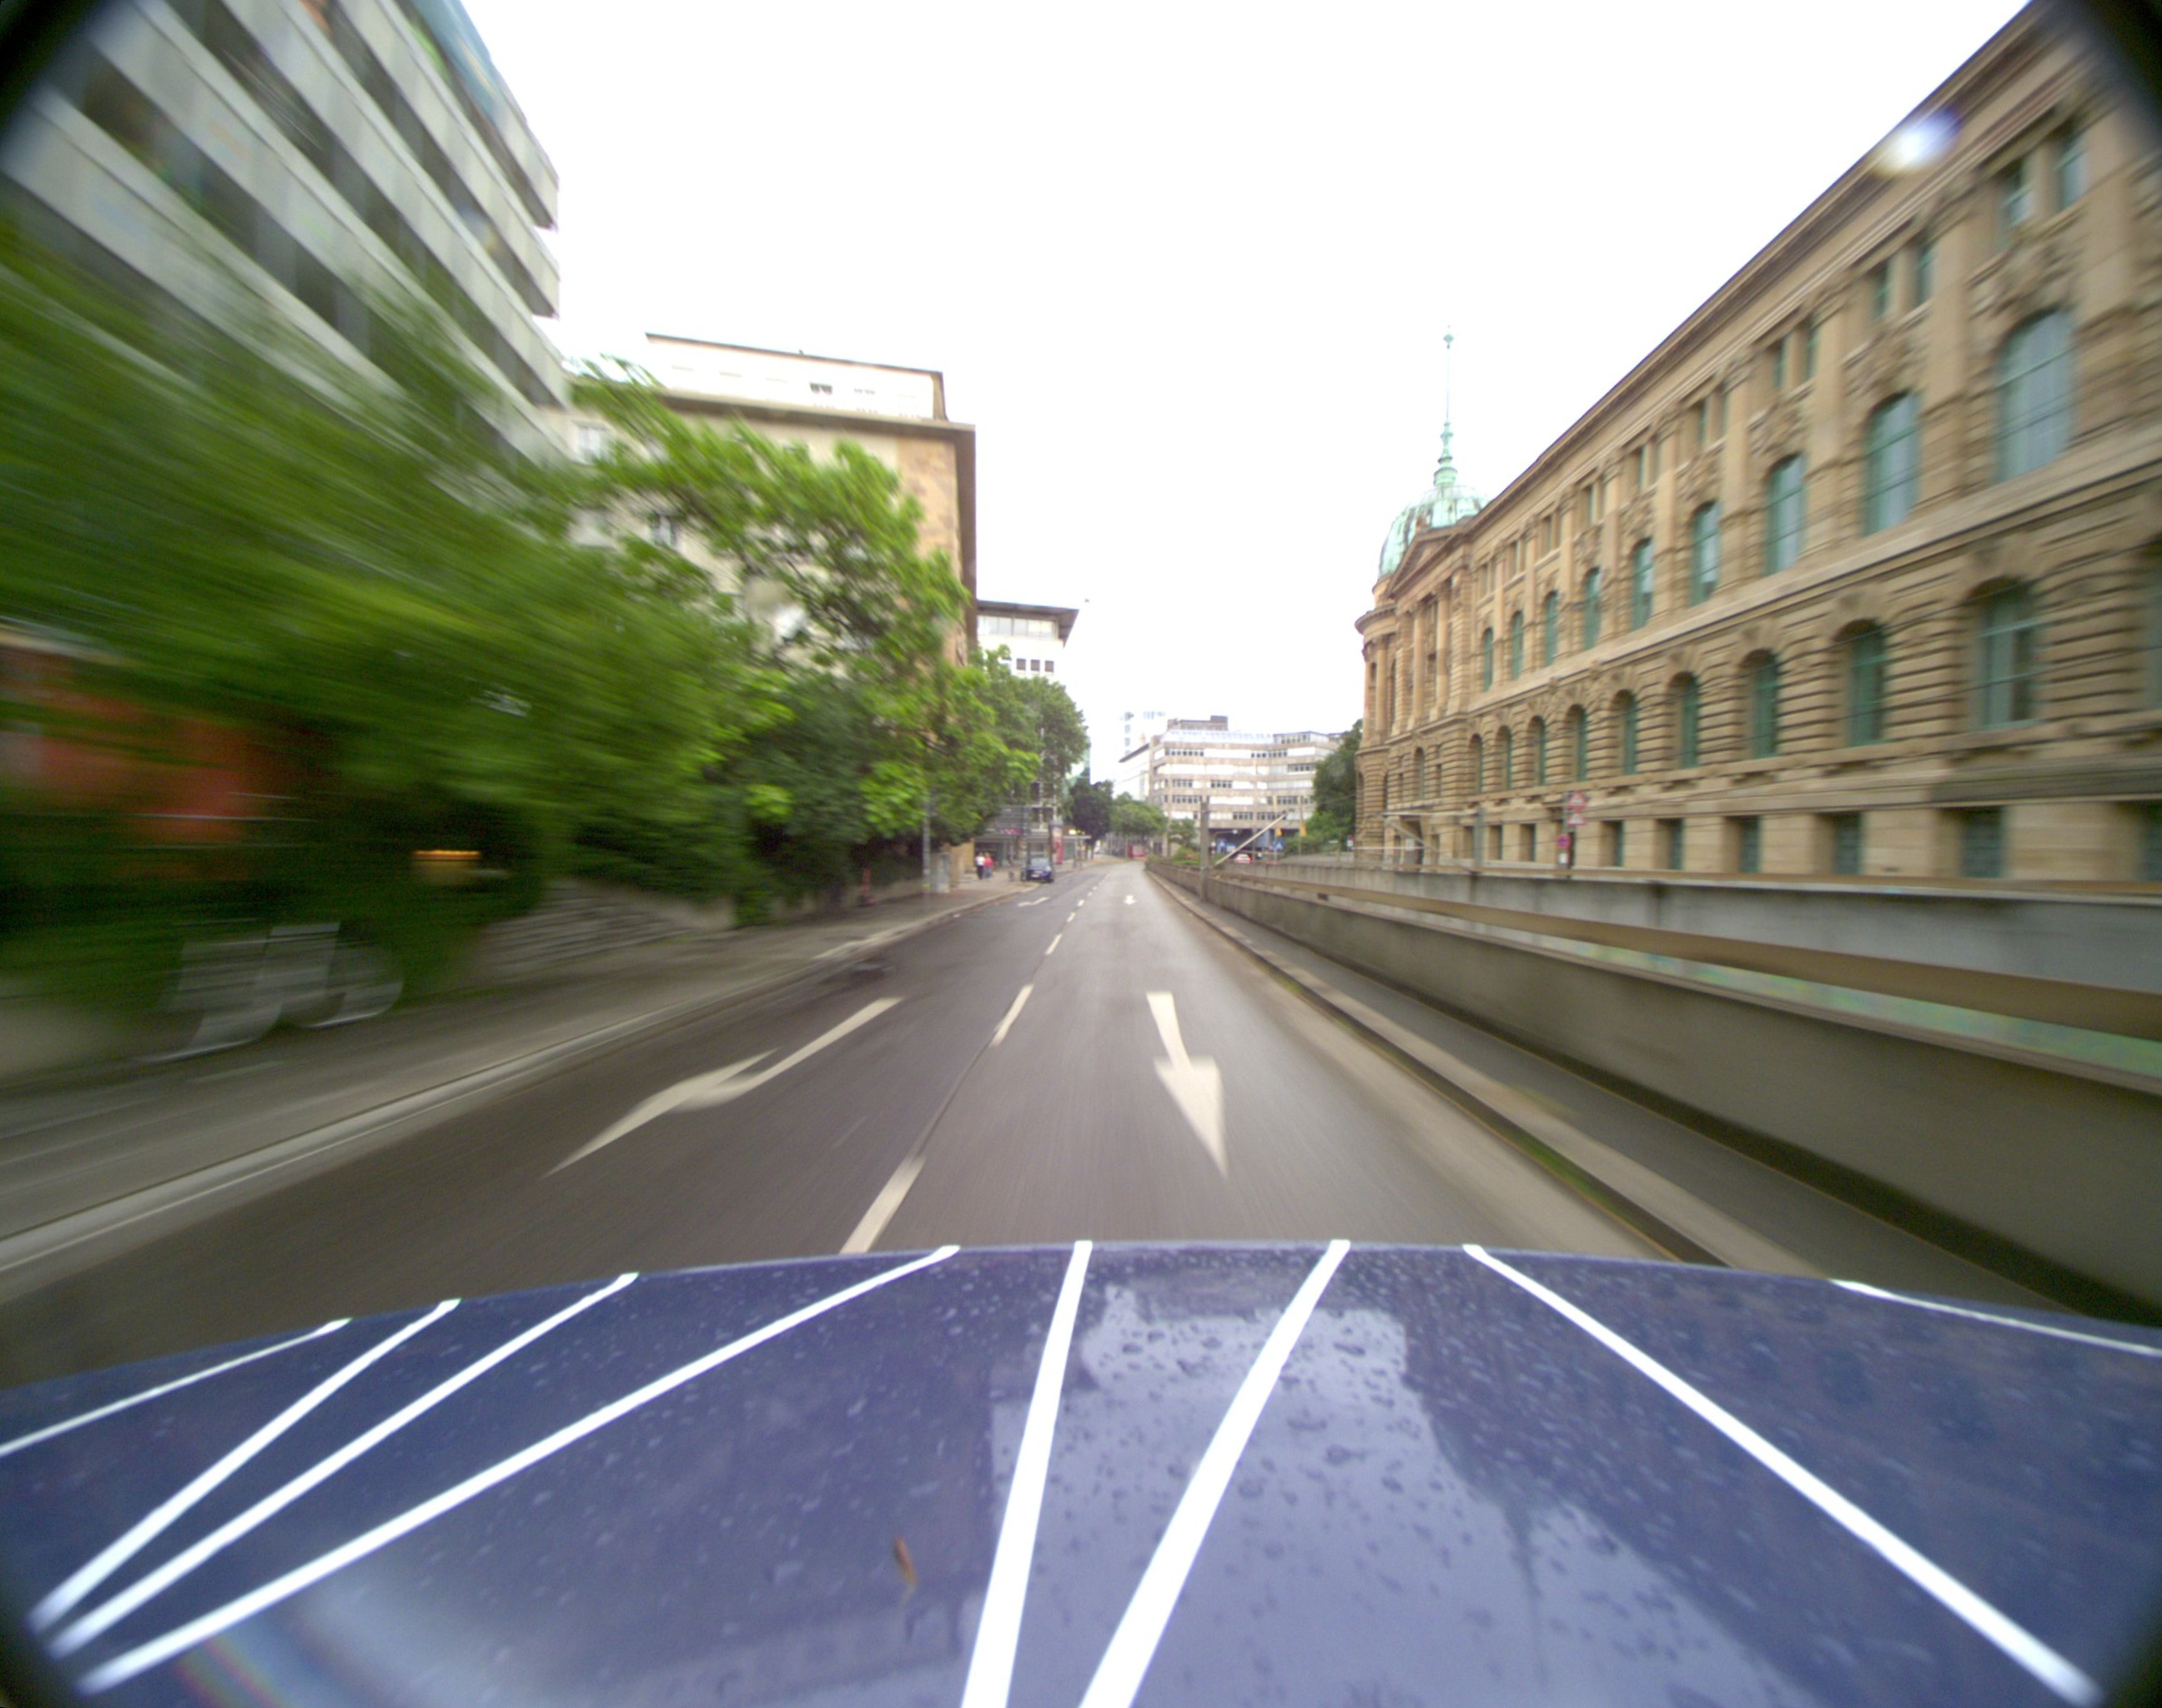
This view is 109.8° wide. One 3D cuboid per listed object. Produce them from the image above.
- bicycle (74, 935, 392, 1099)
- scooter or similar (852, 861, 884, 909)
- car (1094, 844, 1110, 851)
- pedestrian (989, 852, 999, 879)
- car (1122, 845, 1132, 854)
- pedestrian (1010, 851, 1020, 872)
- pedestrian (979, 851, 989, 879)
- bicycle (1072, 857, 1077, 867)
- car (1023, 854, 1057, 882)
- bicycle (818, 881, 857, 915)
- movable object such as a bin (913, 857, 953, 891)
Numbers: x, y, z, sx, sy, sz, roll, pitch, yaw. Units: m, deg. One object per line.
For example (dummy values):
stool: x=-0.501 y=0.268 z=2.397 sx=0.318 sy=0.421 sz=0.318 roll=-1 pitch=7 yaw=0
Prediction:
bicycle: x=-6.333 y=1.158 z=5.833 sx=0.471 sy=0.880 sz=1.690 roll=0 pitch=1 yaw=3
scooter or similar: x=-5.906 y=0.844 z=21.129 sx=0.448 sy=1.252 sz=1.211 roll=2 pitch=1 yaw=3
car: x=5.558 y=-1.813 z=204.498 sx=3.775 sy=1.641 sz=1.796 roll=2 pitch=1 yaw=-20
pedestrian: x=-5.003 y=0.654 z=43.706 sx=0.526 sy=1.483 sz=0.673 roll=0 pitch=1 yaw=-7
car: x=10.360 y=-0.983 z=171.028 sx=1.999 sy=2.068 sz=3.999 roll=0 pitch=1 yaw=-1
pedestrian: x=-5.693 y=0.658 z=65.338 sx=0.781 sy=1.762 sz=0.862 roll=0 pitch=1 yaw=-1
pedestrian: x=-5.552 y=0.612 z=43.379 sx=0.526 sy=1.593 sz=0.673 roll=0 pitch=1 yaw=-8
bicycle: x=-0.690 y=0.776 z=77.369 sx=0.490 sy=1.006 sz=1.927 roll=0 pitch=1 yaw=1
car: x=-2.540 y=0.863 z=48.010 sx=1.772 sy=1.610 sz=4.157 roll=0 pitch=1 yaw=1
bicycle: x=-6.085 y=1.099 z=19.024 sx=0.501 sy=0.750 sz=1.211 roll=3 pitch=1 yaw=3
movable object such as a bin: x=-5.970 y=0.795 z=30.746 sx=1.242 sy=1.303 sz=1.234 roll=2 pitch=1 yaw=4
